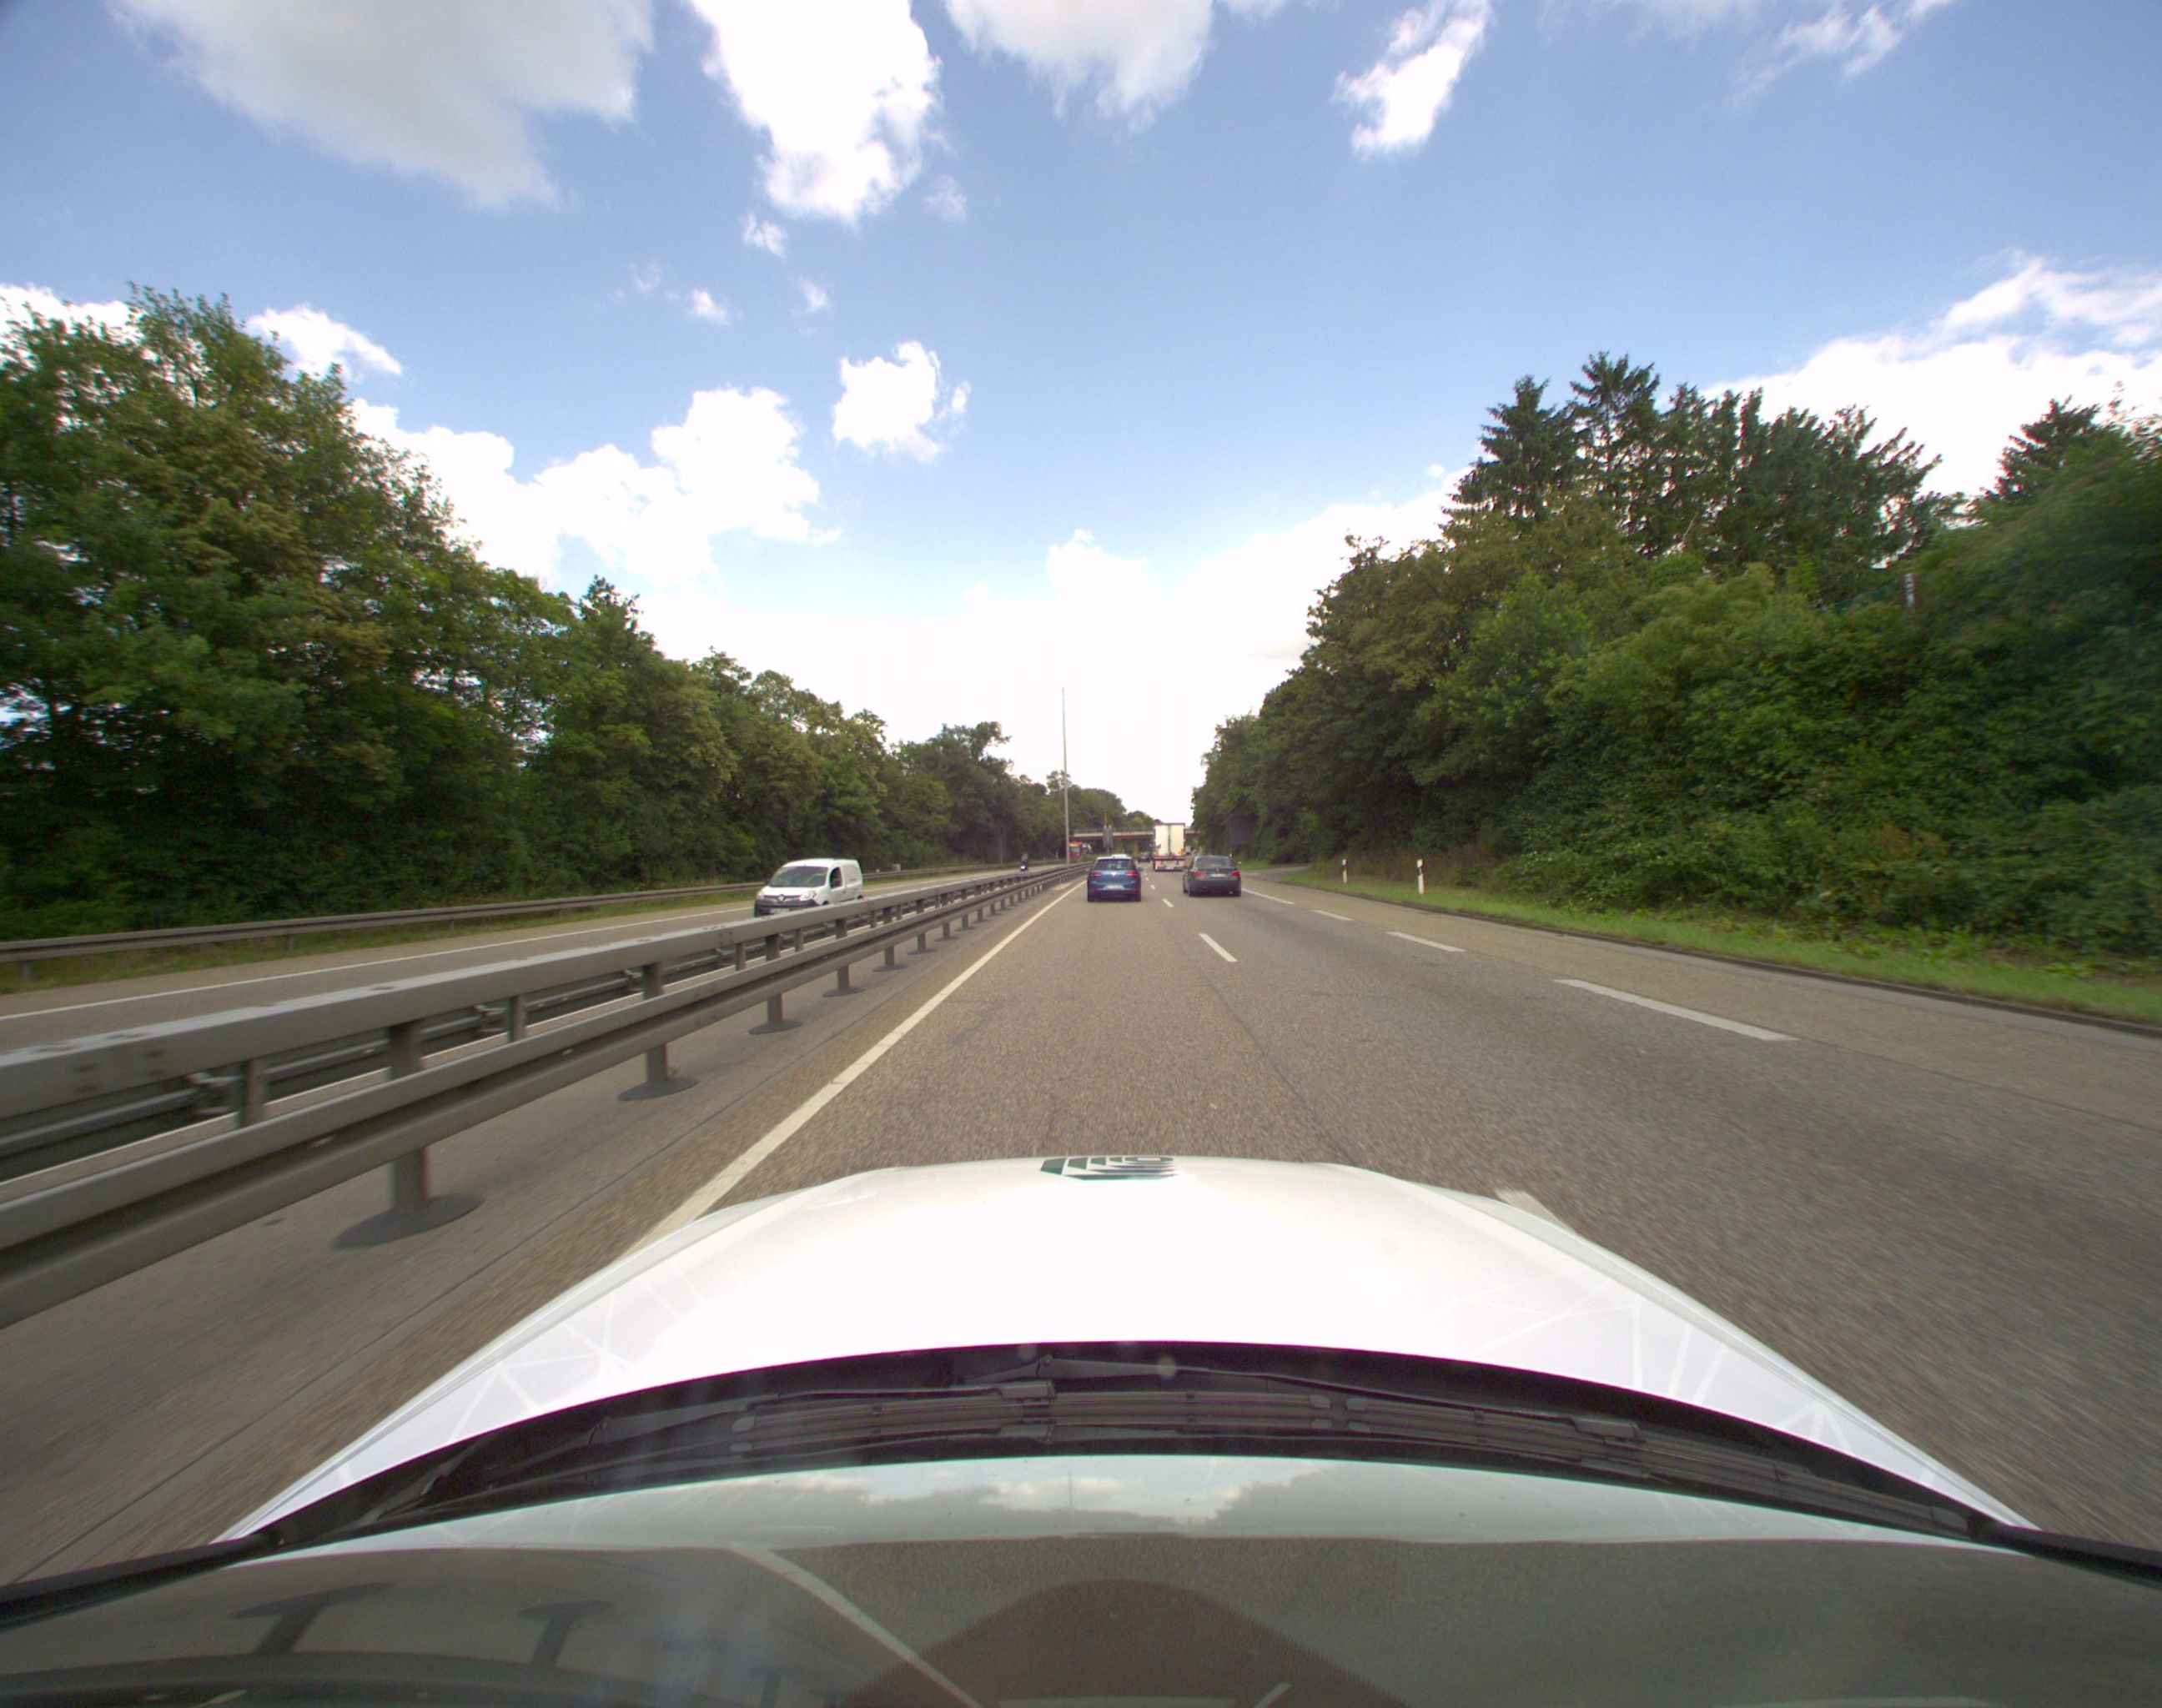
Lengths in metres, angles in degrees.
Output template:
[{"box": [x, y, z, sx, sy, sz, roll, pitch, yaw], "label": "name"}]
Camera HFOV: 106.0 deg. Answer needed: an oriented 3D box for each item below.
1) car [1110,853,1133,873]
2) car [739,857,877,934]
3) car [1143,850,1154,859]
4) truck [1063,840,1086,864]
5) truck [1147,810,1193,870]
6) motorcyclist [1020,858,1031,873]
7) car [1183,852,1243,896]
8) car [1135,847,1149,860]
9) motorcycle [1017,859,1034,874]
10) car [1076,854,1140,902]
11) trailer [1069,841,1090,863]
[{"box": [3.297, 0.688, 65.748, 1.658, 1.500, 4.157, -1, 0, 4], "label": "car"}, {"box": [-7.484, 1.049, 23.011, 1.837, 1.818, 5.480, -2, 0, 2], "label": "car"}, {"box": [12.797, 0.081, 153.496, 1.757, 1.772, 4.032, -2, 0, 7], "label": "car"}, {"box": [-1.051, -0.364, 143.636, 2.941, 3.855, 10.336, -3, 0, 4], "label": "truck"}, {"box": [7.656, -1.151, 71.346, 3.229, 4.716, 11.014, -2, 0, 3], "label": "truck"}, {"box": [-4.576, 0.953, 67.283, 0.822, 1.226, 0.720, -2, 0, 2], "label": "motorcyclist"}, {"box": [4.804, 0.680, 30.185, 1.766, 1.475, 4.886, 0, 0, 4], "label": "car"}, {"box": [9.555, -0.101, 126.851, 1.944, 2.013, 4.007, -2, 0, 6], "label": "car"}, {"box": [-4.609, 1.009, 67.556, 0.996, 1.201, 2.999, -2, 0, 2], "label": "motorcycle"}, {"box": [0.991, 0.737, 27.289, 1.695, 1.470, 4.009, 0, 0, 8], "label": "car"}, {"box": [-0.206, -0.314, 153.874, 2.924, 3.833, 10.325, -3, 0, 5], "label": "trailer"}]
